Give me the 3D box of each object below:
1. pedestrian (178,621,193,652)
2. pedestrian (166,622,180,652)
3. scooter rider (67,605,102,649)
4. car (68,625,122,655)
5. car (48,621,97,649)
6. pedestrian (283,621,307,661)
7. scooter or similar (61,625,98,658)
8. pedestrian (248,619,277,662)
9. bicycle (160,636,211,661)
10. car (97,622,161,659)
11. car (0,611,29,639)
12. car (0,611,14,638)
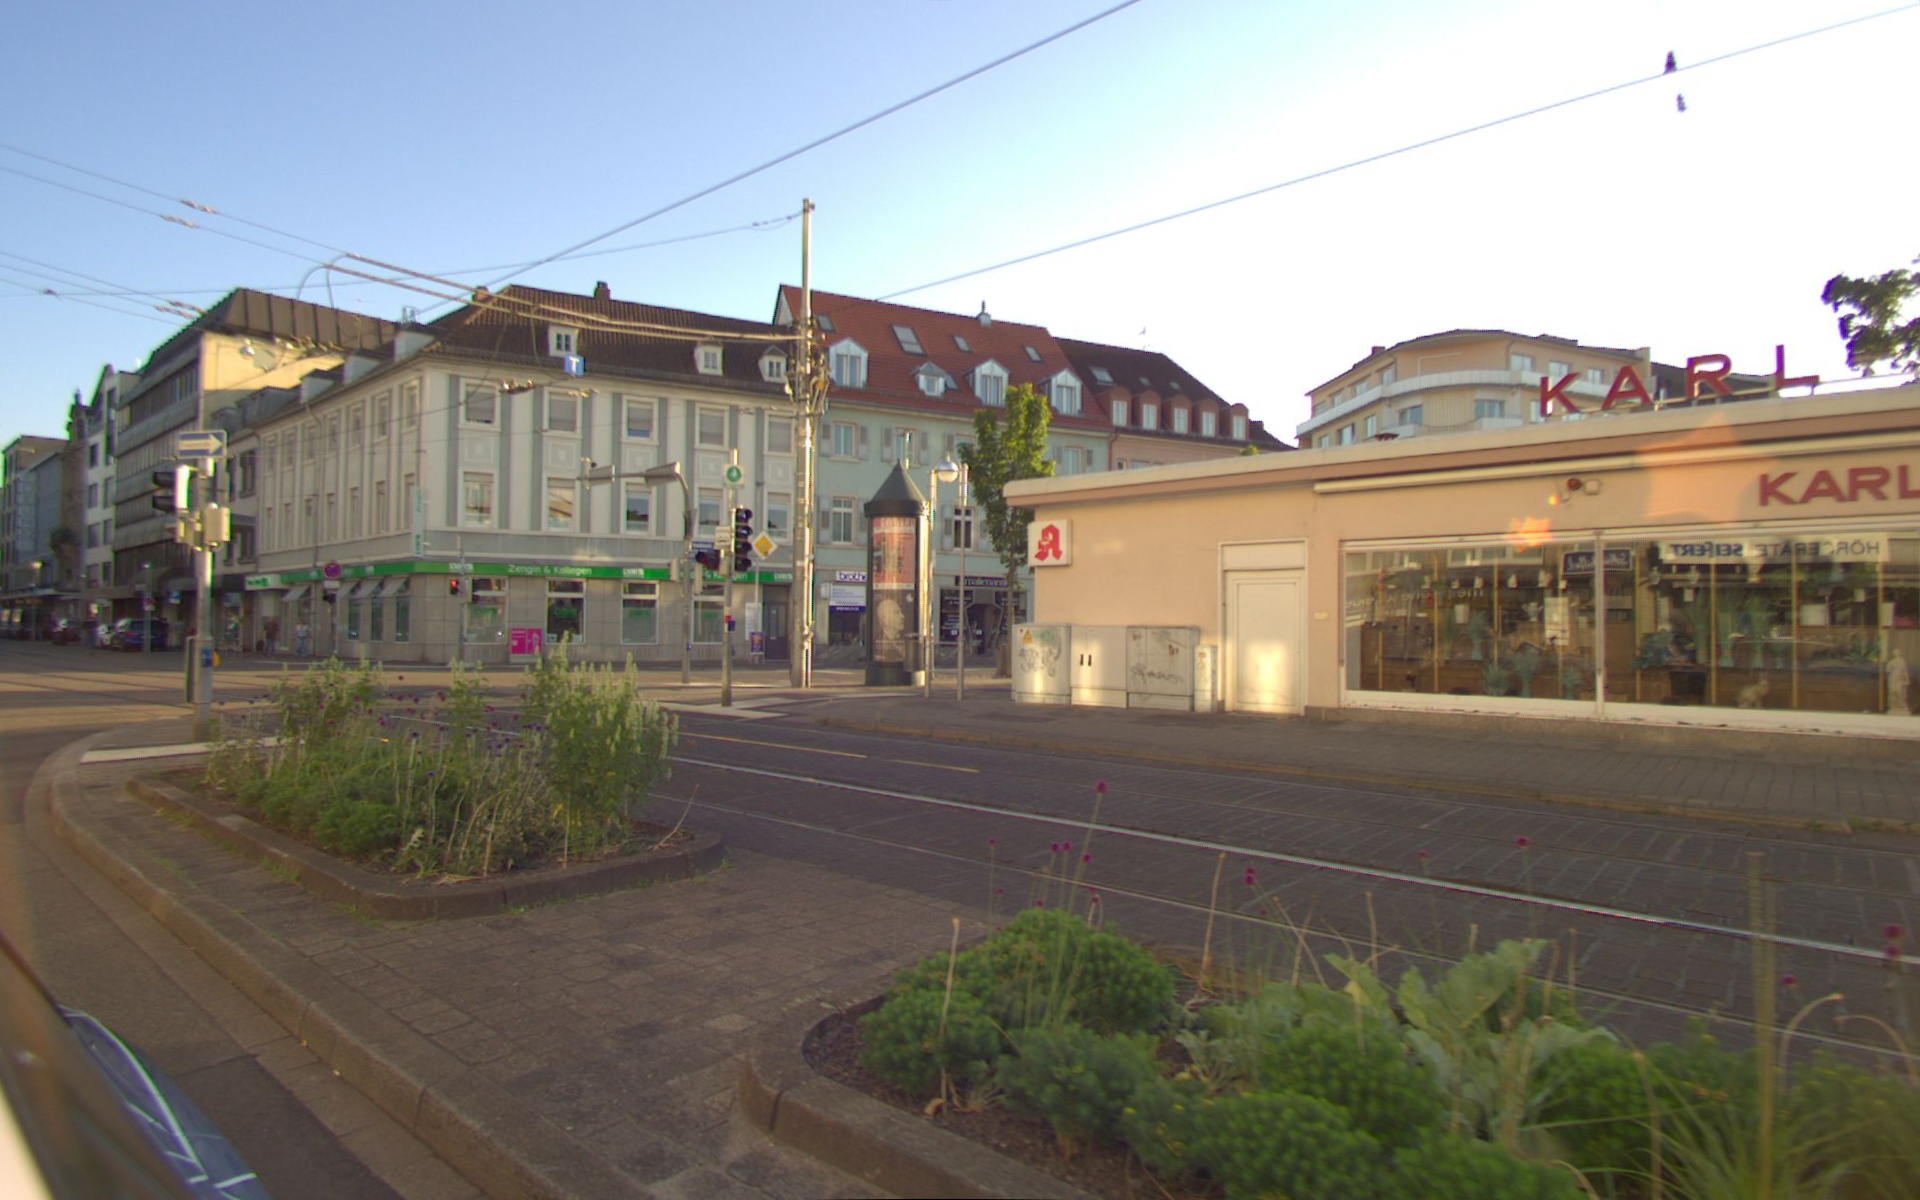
[{"bbox_3d":[-44.500,2.077,58.128,0.600,1.747,0.509,1,-1,41],"label":"pedestrian"},{"bbox_3d":[-44.948,2.089,57.782,0.583,1.697,0.503,1,-1,40],"label":"pedestrian"},{"bbox_3d":[-37.734,1.168,43.638,0.800,1.821,0.790,2,-2,-16],"label":"scooter rider"},{"bbox_3d":[-48.304,2.219,56.505,3.997,1.636,1.679,-1,-2,40],"label":"car"},{"bbox_3d":[-56.890,2.226,64.865,3.998,1.569,1.796,1,-1,41],"label":"car"},{"bbox_3d":[-27.524,1.689,41.875,0.814,1.653,0.816,0,-2,-33],"label":"pedestrian"},{"bbox_3d":[-37.688,1.767,43.347,0.537,1.361,1.674,1,-2,-17],"label":"scooter or similar"},{"bbox_3d":[-28.872,1.682,41.874,0.813,1.741,0.817,-1,-1,40],"label":"pedestrian"},{"bbox_3d":[-33.971,2.119,44.414,1.715,1.067,0.499,2,-4,-41],"label":"bicycle"},{"bbox_3d":[-43.451,2.065,52.869,4.126,1.809,1.890,0,0,40],"label":"car"},{"bbox_3d":[-74.245,1.955,78.940,3.998,2.029,1.973,1,-1,41],"label":"car"},{"bbox_3d":[-79.434,1.999,83.230,3.999,2.074,1.972,1,-1,42],"label":"car"}]
